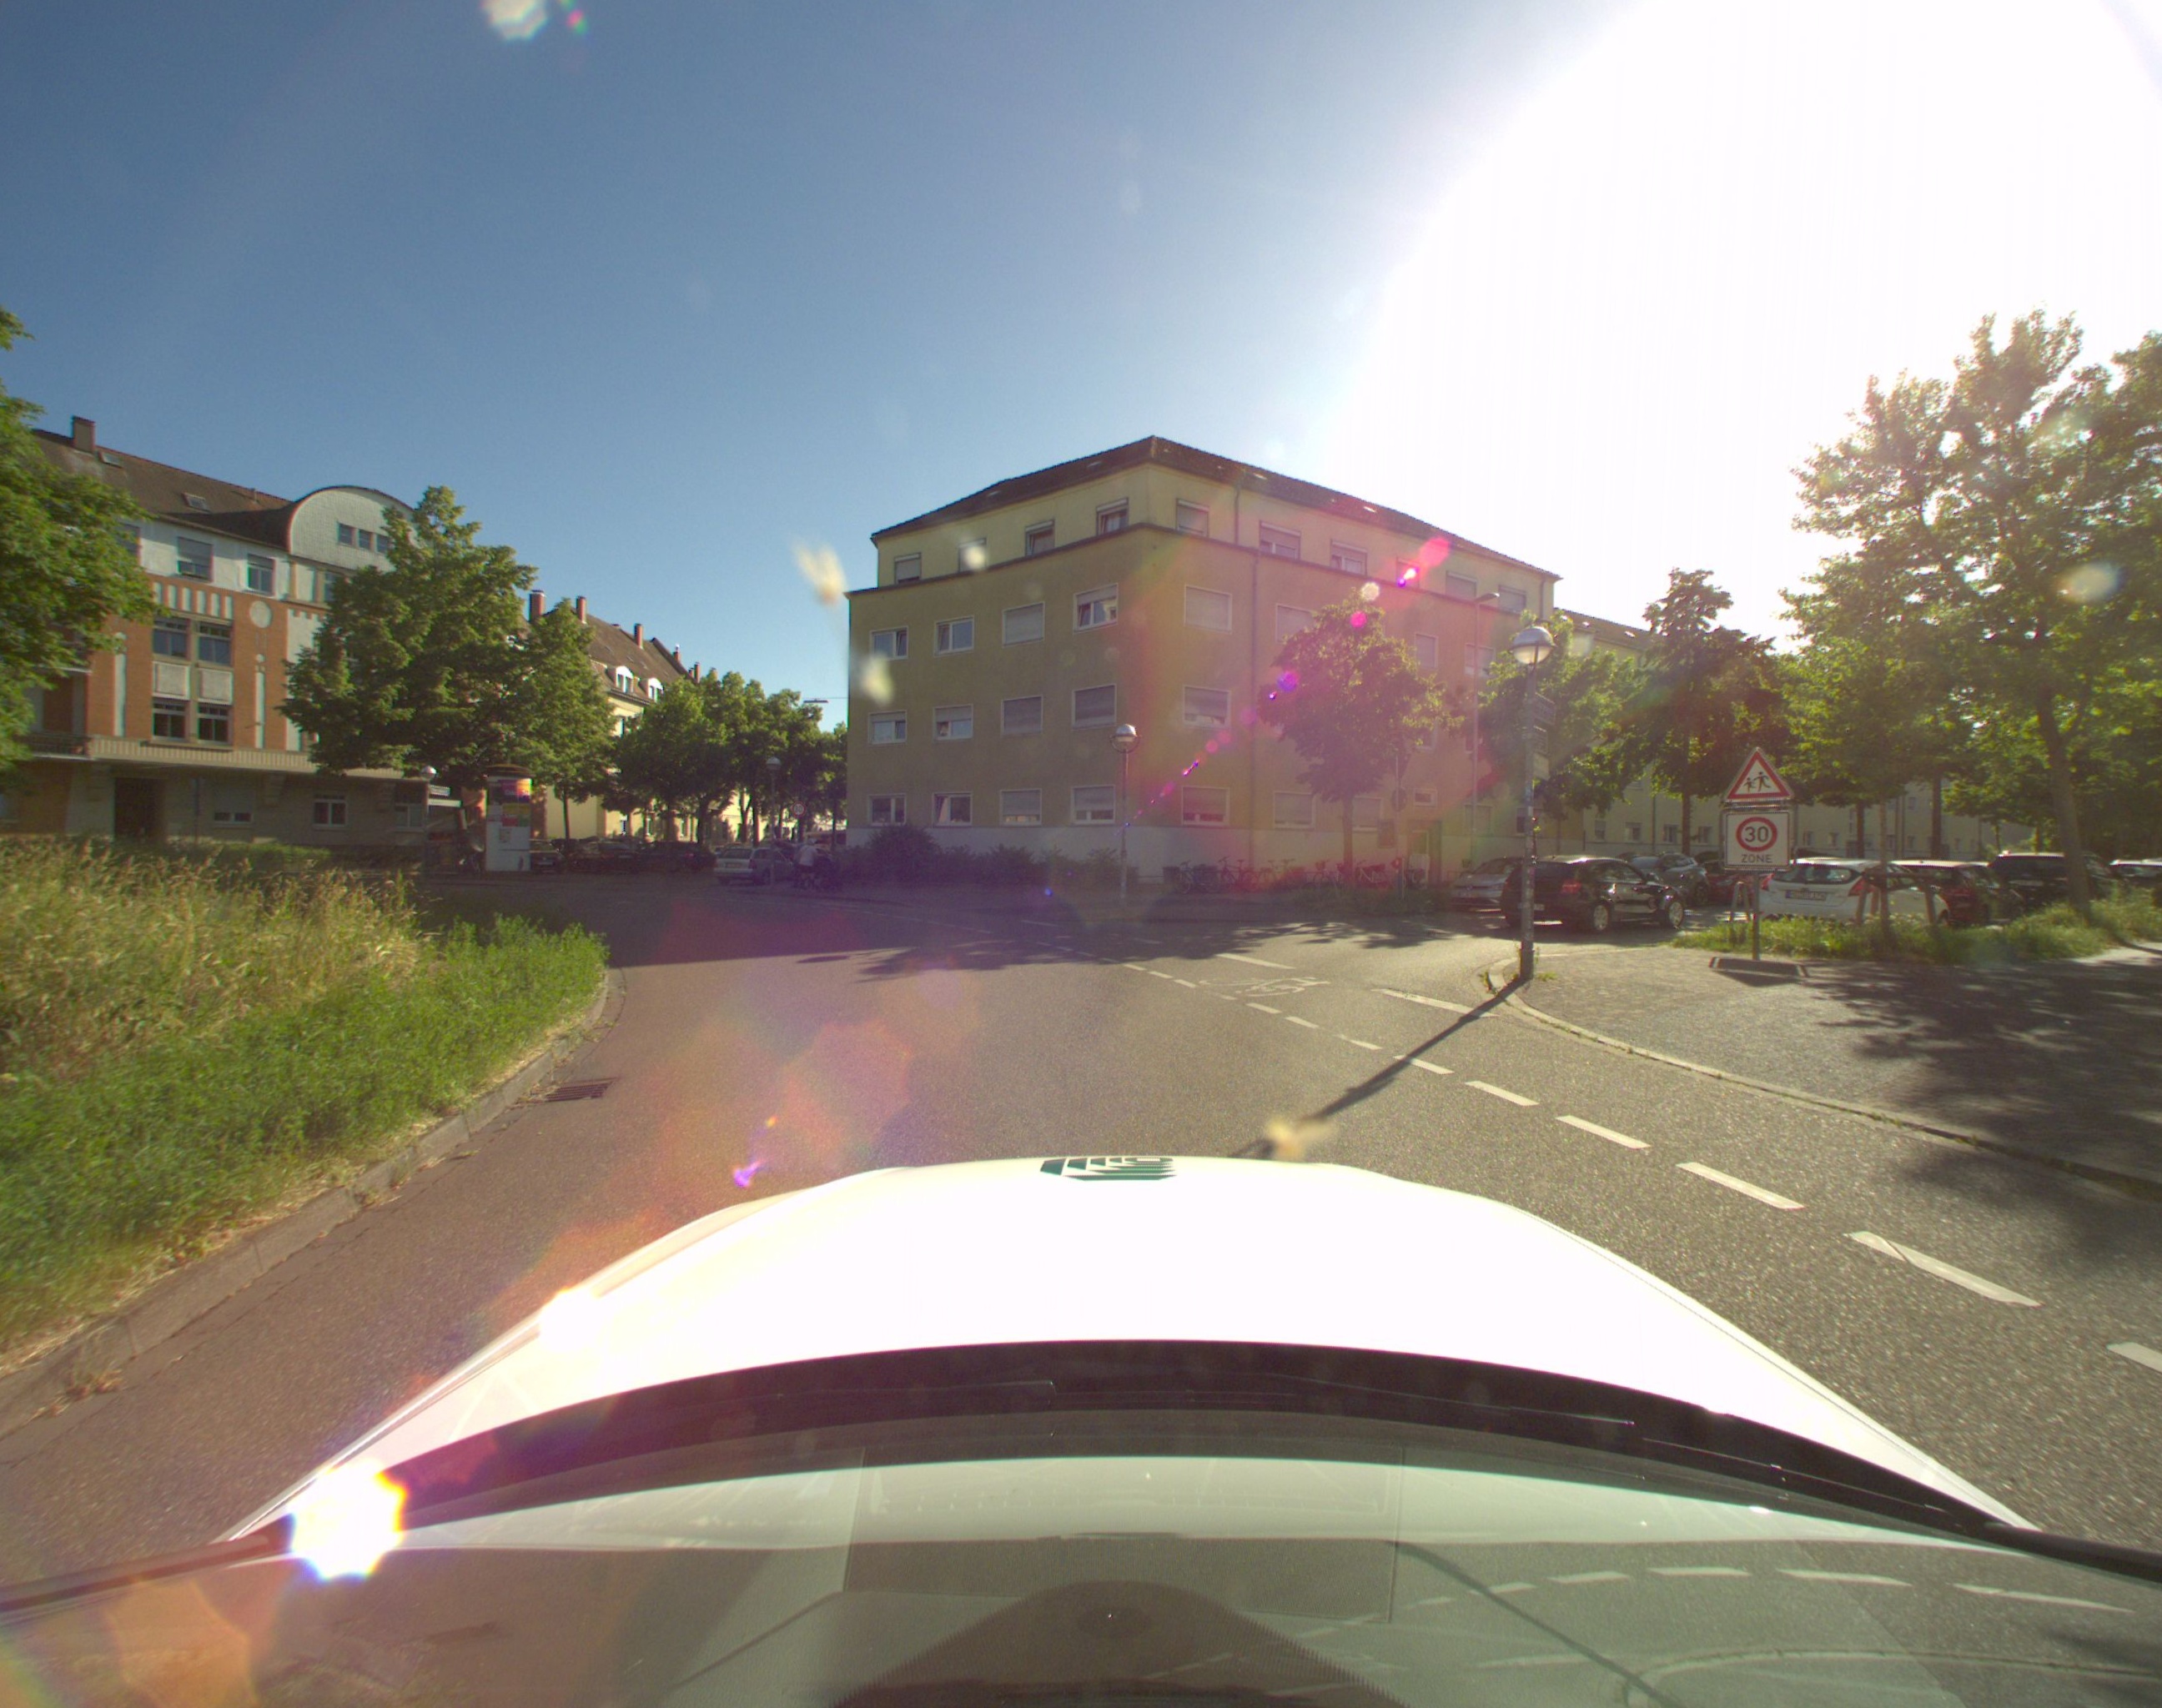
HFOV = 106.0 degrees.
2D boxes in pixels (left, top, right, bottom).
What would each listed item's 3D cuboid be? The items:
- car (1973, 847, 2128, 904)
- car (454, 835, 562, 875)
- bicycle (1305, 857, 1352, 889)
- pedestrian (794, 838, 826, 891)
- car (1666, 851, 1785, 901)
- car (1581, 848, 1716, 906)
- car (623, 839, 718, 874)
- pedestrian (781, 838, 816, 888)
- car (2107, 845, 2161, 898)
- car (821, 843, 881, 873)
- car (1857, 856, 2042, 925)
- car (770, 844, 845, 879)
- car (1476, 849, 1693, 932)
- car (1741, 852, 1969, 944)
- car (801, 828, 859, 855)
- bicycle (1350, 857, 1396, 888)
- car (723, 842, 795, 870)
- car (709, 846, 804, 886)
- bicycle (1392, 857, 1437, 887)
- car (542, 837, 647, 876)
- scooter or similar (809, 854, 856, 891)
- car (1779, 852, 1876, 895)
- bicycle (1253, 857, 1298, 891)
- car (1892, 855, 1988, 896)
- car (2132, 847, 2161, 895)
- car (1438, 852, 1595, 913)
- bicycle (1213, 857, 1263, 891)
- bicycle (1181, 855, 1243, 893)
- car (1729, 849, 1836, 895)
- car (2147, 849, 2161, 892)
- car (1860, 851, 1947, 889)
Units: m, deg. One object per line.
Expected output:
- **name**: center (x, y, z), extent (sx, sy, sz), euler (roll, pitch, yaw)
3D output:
- **car**: center (23.588, 0.497, 19.803), extent (3.729, 1.255, 1.783), euler (0, -1, -30)
- **car**: center (-23.400, 0.039, 33.297), extent (3.643, 1.546, 1.741), euler (0, 0, 18)
- **bicycle**: center (8.099, 0.624, 26.694), extent (1.448, 1.026, 0.497), euler (0, 0, -17)
- **pedestrian**: center (-7.838, 0.296, 23.550), extent (0.645, 1.523, 0.697), euler (-1, 0, 1)
- **car**: center (20.858, 0.675, 26.323), extent (4.013, 1.510, 1.782), euler (0, -1, -32)
- **car**: center (16.562, 0.649, 23.746), extent (4.013, 1.576, 1.782), euler (1, -1, -32)
- **car**: center (-19.356, 0.115, 38.473), extent (3.650, 1.546, 1.738), euler (0, 0, 10)
- **pedestrian**: center (-8.821, 0.262, 25.428), extent (0.821, 1.523, 0.697), euler (-1, 0, -2)
- **car**: center (32.261, 0.502, 24.175), extent (4.013, 1.510, 1.782), euler (0, -1, -32)
- **car**: center (-11.781, 0.219, 42.073), extent (1.723, 1.439, 4.389), euler (1, 0, 2)
- **car**: center (17.769, 0.684, 16.647), extent (3.729, 1.255, 1.783), euler (0, -1, -30)
- **car**: center (-12.100, 0.331, 36.355), extent (1.723, 1.439, 4.389), euler (1, 0, 2)
- **car**: center (9.745, 0.638, 15.717), extent (4.010, 1.419, 1.853), euler (0, -1, -29)
- **car**: center (13.769, 0.703, 14.468), extent (4.010, 1.413, 1.784), euler (1, 0, -28)
- **car**: center (-19.364, -0.921, 62.752), extent (4.145, 1.987, 2.187), euler (0, 0, 36)
- **bicycle**: center (9.909, 0.627, 27.619), extent (1.448, 1.026, 0.497), euler (0, 0, -17)
- **car**: center (-19.561, 0.132, 49.508), extent (3.650, 1.637, 1.738), euler (0, 0, 10)
- **car**: center (-12.326, 0.420, 31.248), extent (1.720, 1.411, 4.491), euler (1, 0, 2)
- **bicycle**: center (11.649, 0.617, 28.437), extent (1.448, 1.026, 0.497), euler (0, 0, -17)
- **car**: center (-20.557, 0.095, 34.480), extent (3.646, 1.546, 1.740), euler (0, 0, 15)
- **scooter or similar**: center (-7.137, 0.537, 23.425), extent (0.907, 1.023, 0.904), euler (-1, 0, 22)
- **car**: center (29.480, 0.745, 32.144), extent (4.013, 1.576, 1.782), euler (1, -1, -32)
- **bicycle**: center (6.141, 0.619, 25.723), extent (1.454, 1.026, 0.495), euler (0, 0, -30)
- **car**: center (33.199, 0.795, 31.441), extent (4.013, 1.510, 1.782), euler (0, -1, -32)
- **car**: center (36.362, 0.554, 26.789), extent (4.013, 1.510, 1.782), euler (0, -1, -32)
- **car**: center (11.187, 0.683, 20.858), extent (4.013, 1.411, 1.786), euler (1, 0, -32)
- **bicycle**: center (4.817, 0.618, 25.021), extent (1.439, 1.026, 0.500), euler (0, 0, 3)
- **bicycle**: center (3.910, 0.585, 24.351), extent (1.786, 1.107, 0.500), euler (0, 0, 3)
- **car**: center (25.068, 0.620, 29.080), extent (4.013, 1.510, 1.782), euler (0, -1, -32)
- **car**: center (40.304, 0.593, 29.426), extent (4.013, 1.510, 1.782), euler (0, -1, -32)
- **car**: center (35.424, 0.676, 35.067), extent (4.013, 1.576, 1.782), euler (1, -1, -32)
